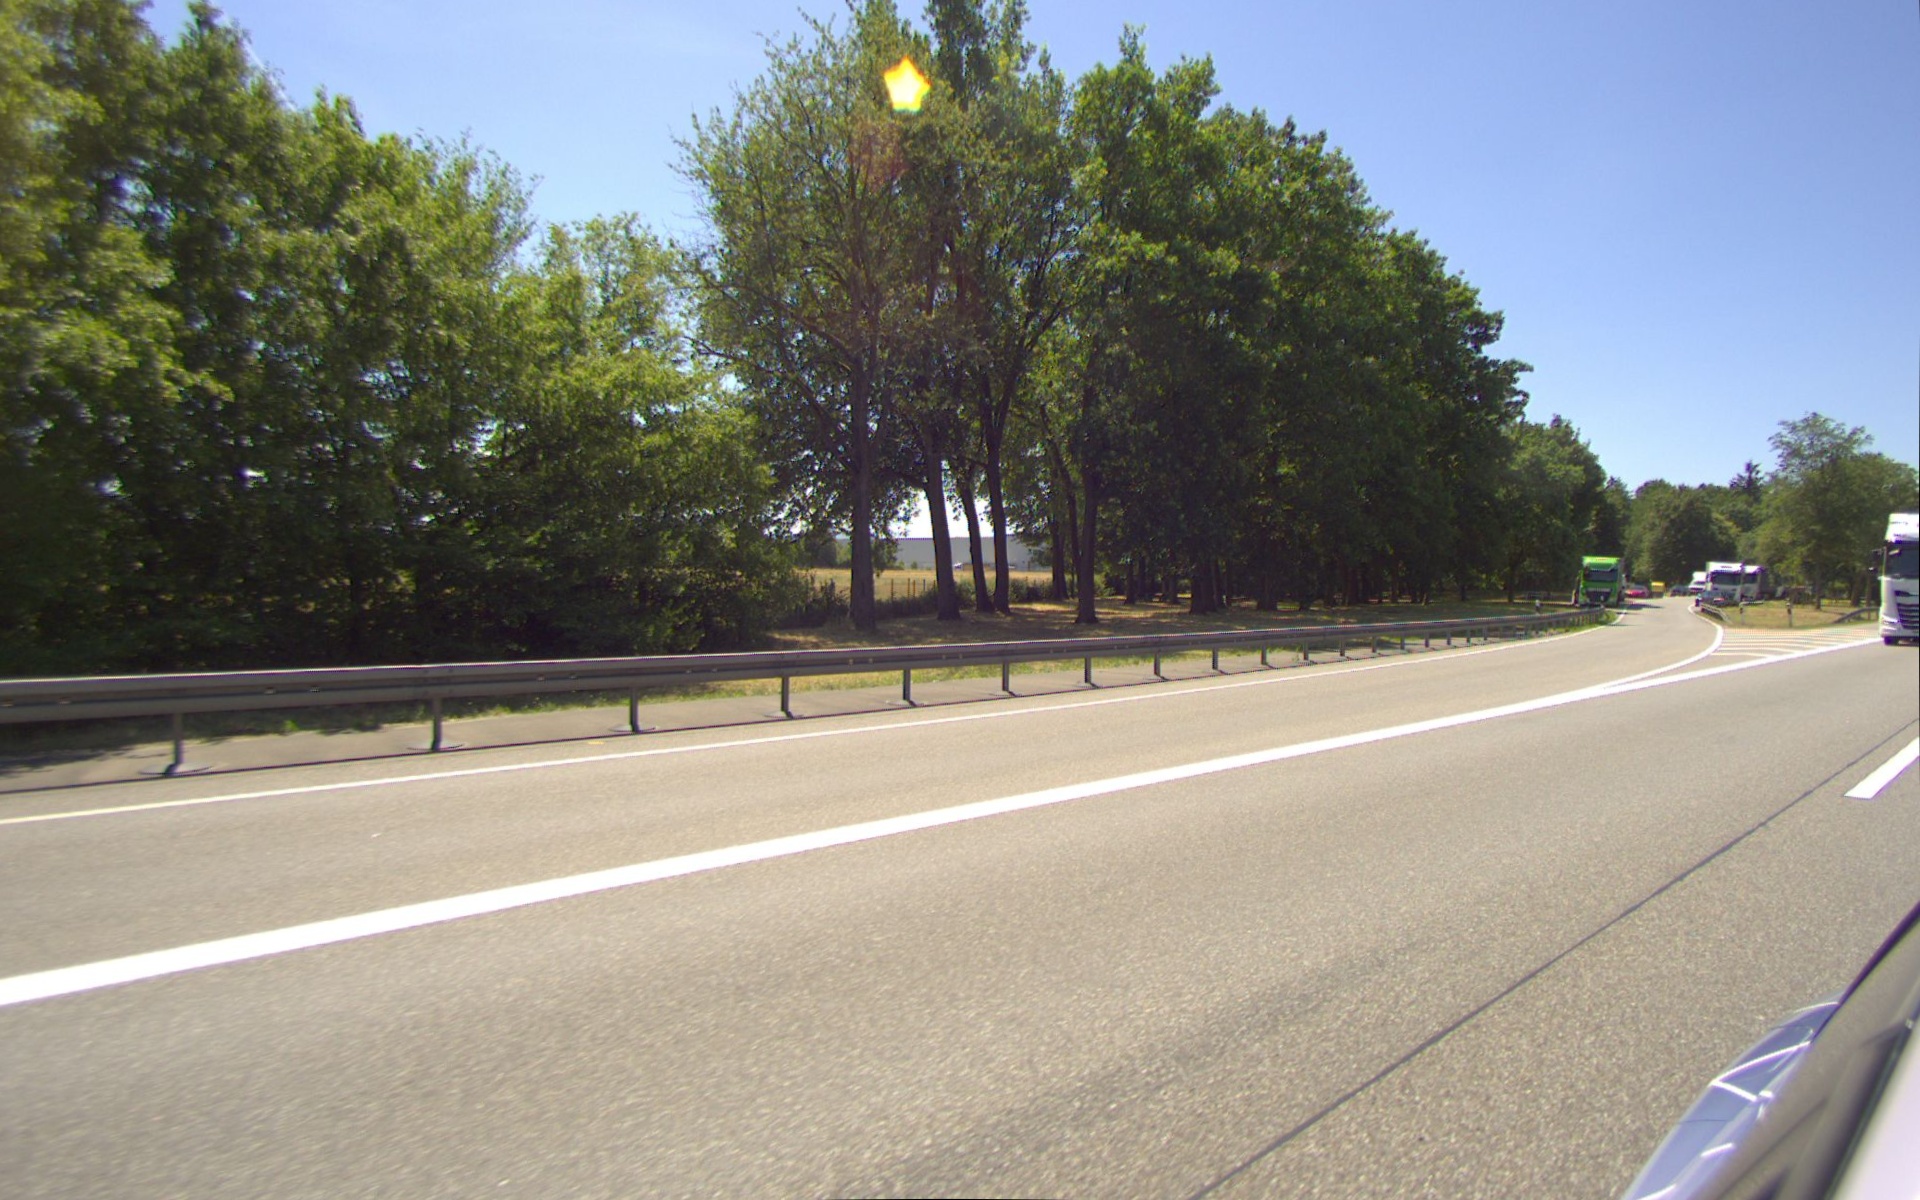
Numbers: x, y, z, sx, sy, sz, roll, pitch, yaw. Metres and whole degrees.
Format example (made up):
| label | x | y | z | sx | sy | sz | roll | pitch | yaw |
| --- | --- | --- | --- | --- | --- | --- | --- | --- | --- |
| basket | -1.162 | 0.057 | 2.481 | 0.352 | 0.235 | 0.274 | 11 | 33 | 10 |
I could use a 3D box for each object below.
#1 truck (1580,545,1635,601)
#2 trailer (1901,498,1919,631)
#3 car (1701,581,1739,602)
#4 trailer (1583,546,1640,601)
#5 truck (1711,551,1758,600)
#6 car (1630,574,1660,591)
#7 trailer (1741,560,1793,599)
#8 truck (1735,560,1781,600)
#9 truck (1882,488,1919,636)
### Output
| label | x | y | z | sx | sy | sz | roll | pitch | yaw |
| --- | --- | --- | --- | --- | --- | --- | --- | --- | --- |
| truck | 51.754 | -2.094 | 80.825 | 3.374 | 4.312 | 6.531 | 0 | 0 | 36 |
| trailer | 37.345 | -1.248 | 37.174 | 14.725 | 4.326 | 2.860 | -1 | 0 | -42 |
| car | 67.166 | -0.766 | 89.444 | 1.995 | 1.731 | 4.604 | 5 | 4 | 45 |
| trailer | 55.505 | -2.169 | 86.039 | 3.373 | 4.312 | 12.975 | 0 | 0 | 36 |
| truck | 73.649 | -2.264 | 96.215 | 3.376 | 4.519 | 7.287 | 0 | 0 | 38 |
| car | 74.252 | -1.919 | 109.660 | 2.140 | 1.774 | 4.797 | 4 | 4 | 41 |
| trailer | 99.336 | -2.458 | 124.365 | 3.384 | 4.519 | 17.840 | 1 | 2 | 44 |
| truck | 92.617 | -2.352 | 117.390 | 3.384 | 4.519 | 8.103 | 1 | 2 | 44 |
| truck | 30.869 | -1.147 | 31.272 | 6.747 | 4.326 | 2.860 | -1 | 0 | -42 |
